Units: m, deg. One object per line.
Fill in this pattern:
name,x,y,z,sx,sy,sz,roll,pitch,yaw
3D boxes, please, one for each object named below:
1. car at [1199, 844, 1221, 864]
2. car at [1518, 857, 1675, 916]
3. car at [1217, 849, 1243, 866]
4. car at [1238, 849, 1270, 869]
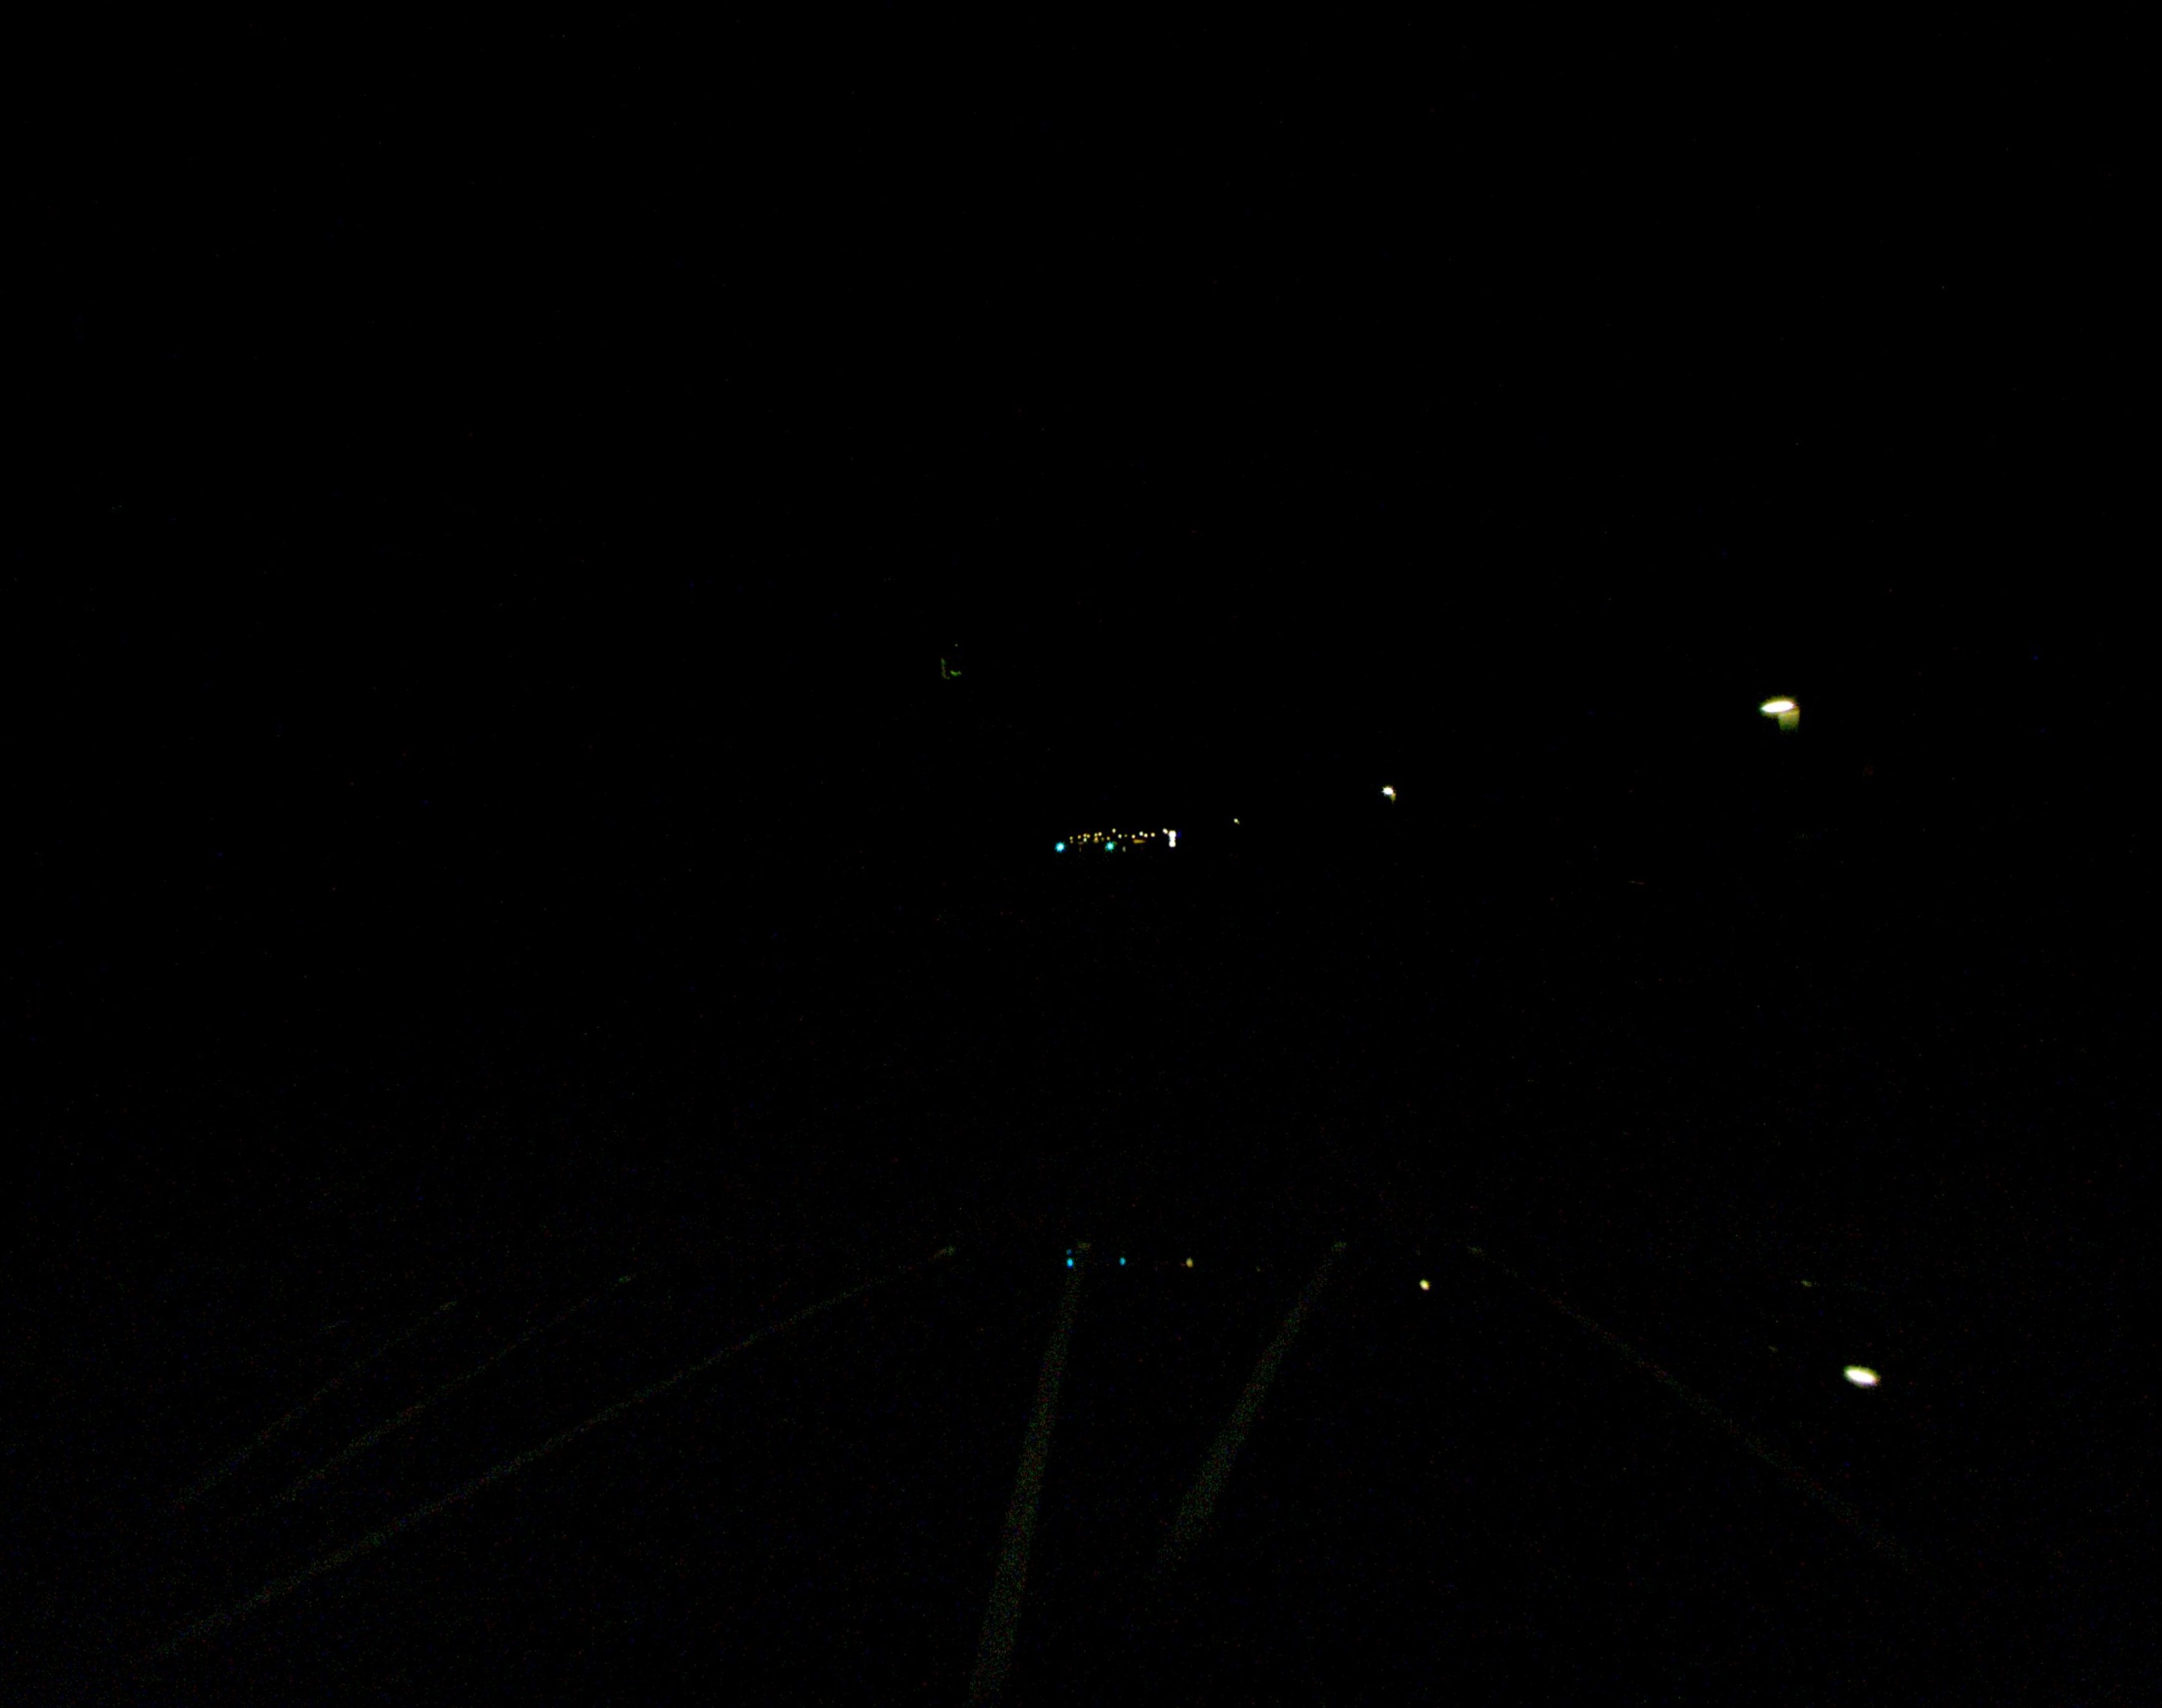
car,16.832,-0.041,99.411,2.164,2.498,4.721,3,1,3
car,16.175,0.951,24.215,1.768,1.559,4.693,4,0,1
car,16.769,0.357,85.729,2.124,1.761,4.721,3,1,3
car,16.547,0.447,72.736,2.124,1.761,4.721,3,1,3
